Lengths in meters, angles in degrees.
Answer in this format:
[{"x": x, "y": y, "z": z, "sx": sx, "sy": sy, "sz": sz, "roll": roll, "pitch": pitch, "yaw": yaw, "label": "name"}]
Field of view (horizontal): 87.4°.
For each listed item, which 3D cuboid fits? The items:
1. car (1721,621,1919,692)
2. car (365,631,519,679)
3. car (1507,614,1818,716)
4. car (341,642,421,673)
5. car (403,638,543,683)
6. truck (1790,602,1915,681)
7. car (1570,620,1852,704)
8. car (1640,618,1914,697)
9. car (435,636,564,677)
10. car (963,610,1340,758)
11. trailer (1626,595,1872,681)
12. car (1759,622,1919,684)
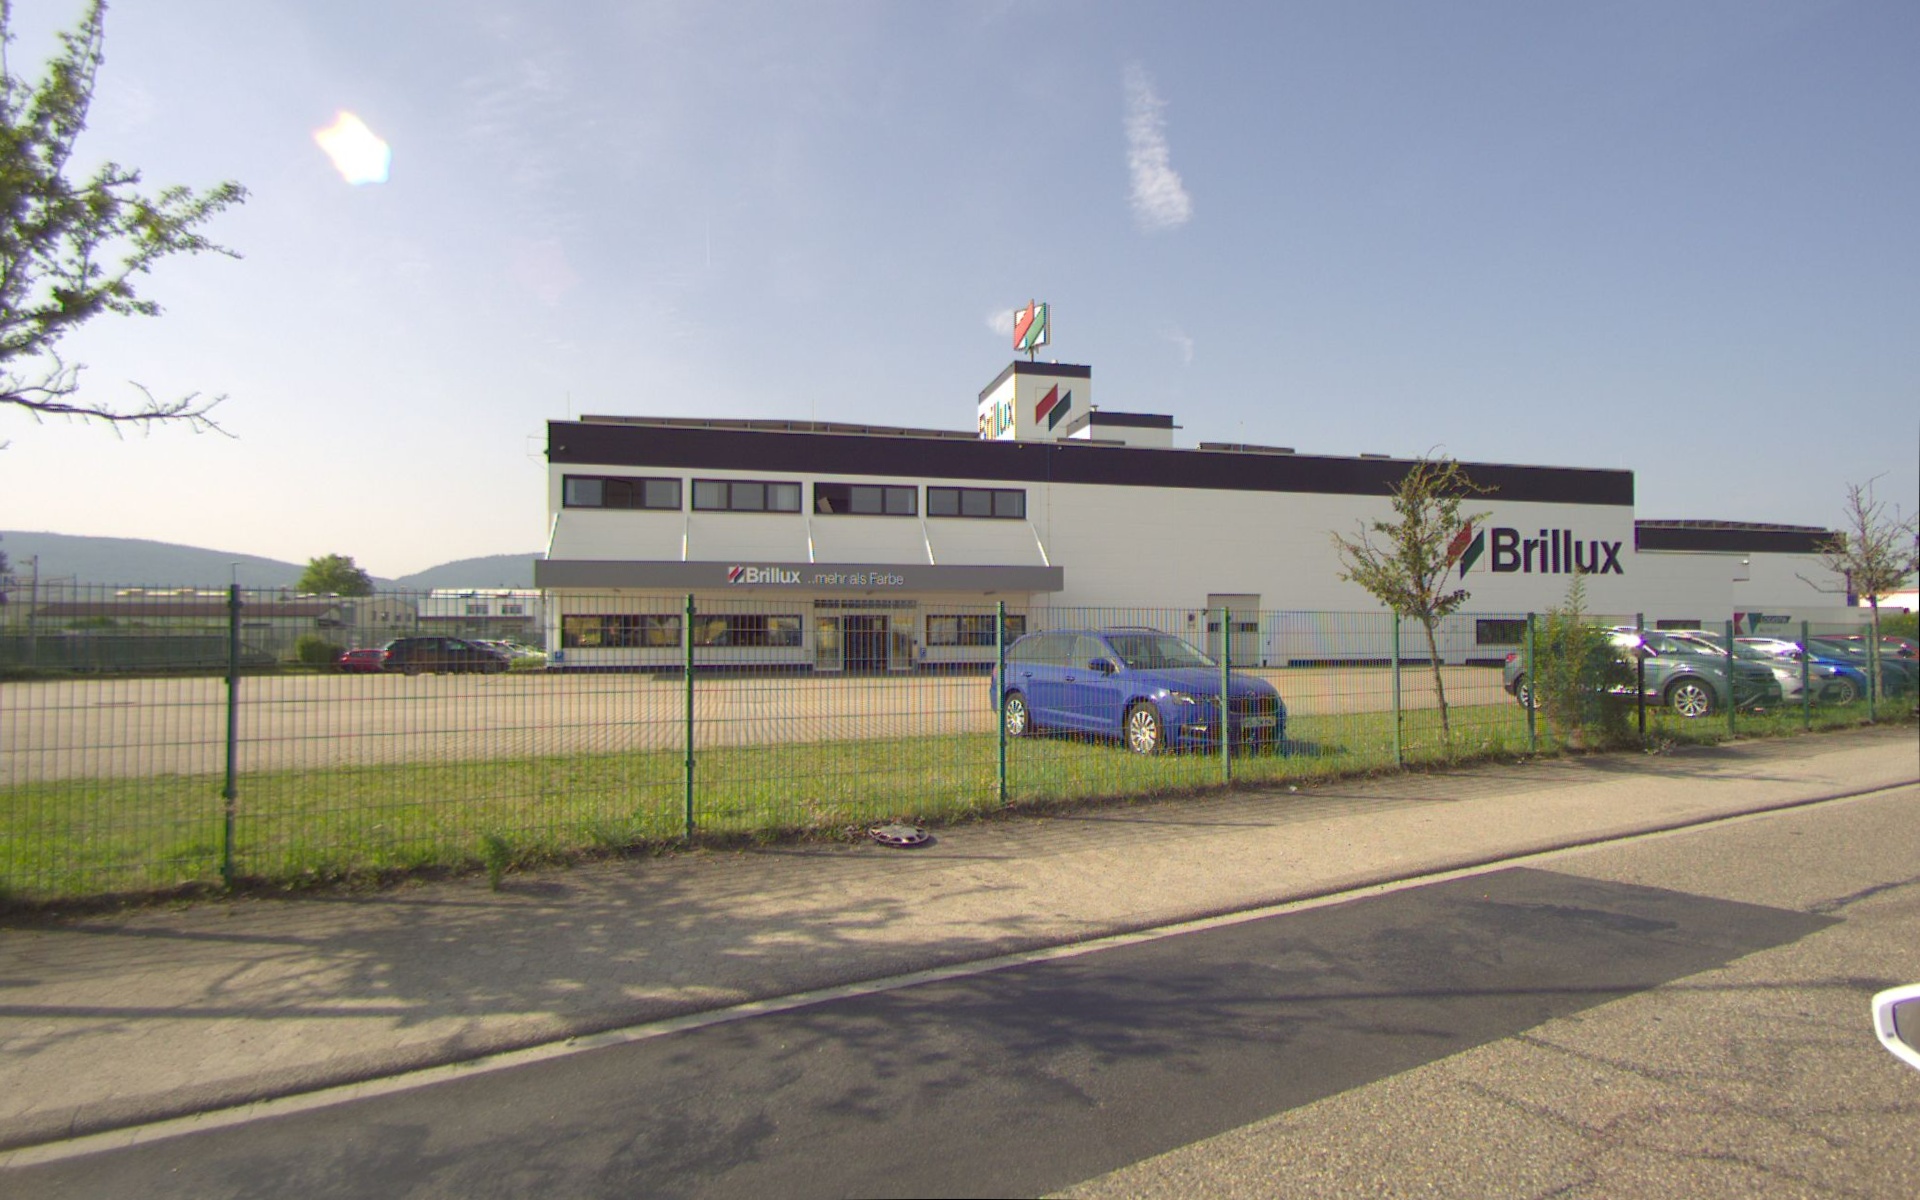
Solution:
[{"x": 19.964, "y": 1.281, "z": 22.685, "sx": 1.852, "sy": 1.463, "sz": 4.022, "roll": 1, "pitch": -4, "yaw": -30, "label": "car"}, {"x": -19.612, "y": 2.071, "z": 38.100, "sx": 5.008, "sy": 1.724, "sz": 1.982, "roll": 2, "pitch": -3, "yaw": -33, "label": "car"}, {"x": 12.248, "y": 1.142, "z": 17.805, "sx": 1.843, "sy": 1.588, "sz": 4.108, "roll": 1, "pitch": -4, "yaw": -30, "label": "car"}, {"x": -33.428, "y": 3.294, "z": 58.085, "sx": 3.953, "sy": 1.728, "sz": 1.777, "roll": 1, "pitch": -2, "yaw": -30, "label": "car"}, {"x": -19.928, "y": 2.443, "z": 41.171, "sx": 5.004, "sy": 1.724, "sz": 1.984, "roll": 1, "pitch": -3, "yaw": -31, "label": "car"}, {"x": 48.990, "y": 2.265, "z": 55.147, "sx": 5.452, "sy": 4.125, "sz": 2.513, "roll": 2, "pitch": 0, "yaw": -15, "label": "truck"}, {"x": 14.612, "y": 1.223, "z": 19.786, "sx": 1.852, "sy": 1.463, "sz": 4.022, "roll": 1, "pitch": -4, "yaw": -30, "label": "car"}, {"x": 16.848, "y": 1.205, "z": 20.931, "sx": 1.852, "sy": 1.463, "sz": 4.022, "roll": 1, "pitch": -4, "yaw": -30, "label": "car"}, {"x": -20.367, "y": 2.489, "z": 44.508, "sx": 5.004, "sy": 1.724, "sz": 1.984, "roll": 1, "pitch": -3, "yaw": -31, "label": "car"}, {"x": 2.099, "y": 0.986, "z": 12.496, "sx": 2.054, "sy": 1.463, "sz": 4.664, "roll": 1, "pitch": -4, "yaw": -30, "label": "car"}, {"x": 41.849, "y": 2.050, "z": 53.218, "sx": 13.656, "sy": 4.095, "sz": 2.482, "roll": 2, "pitch": 0, "yaw": -15, "label": "trailer"}, {"x": 23.227, "y": 1.332, "z": 25.233, "sx": 1.930, "sy": 1.463, "sz": 4.516, "roll": 1, "pitch": -4, "yaw": -30, "label": "car"}]
